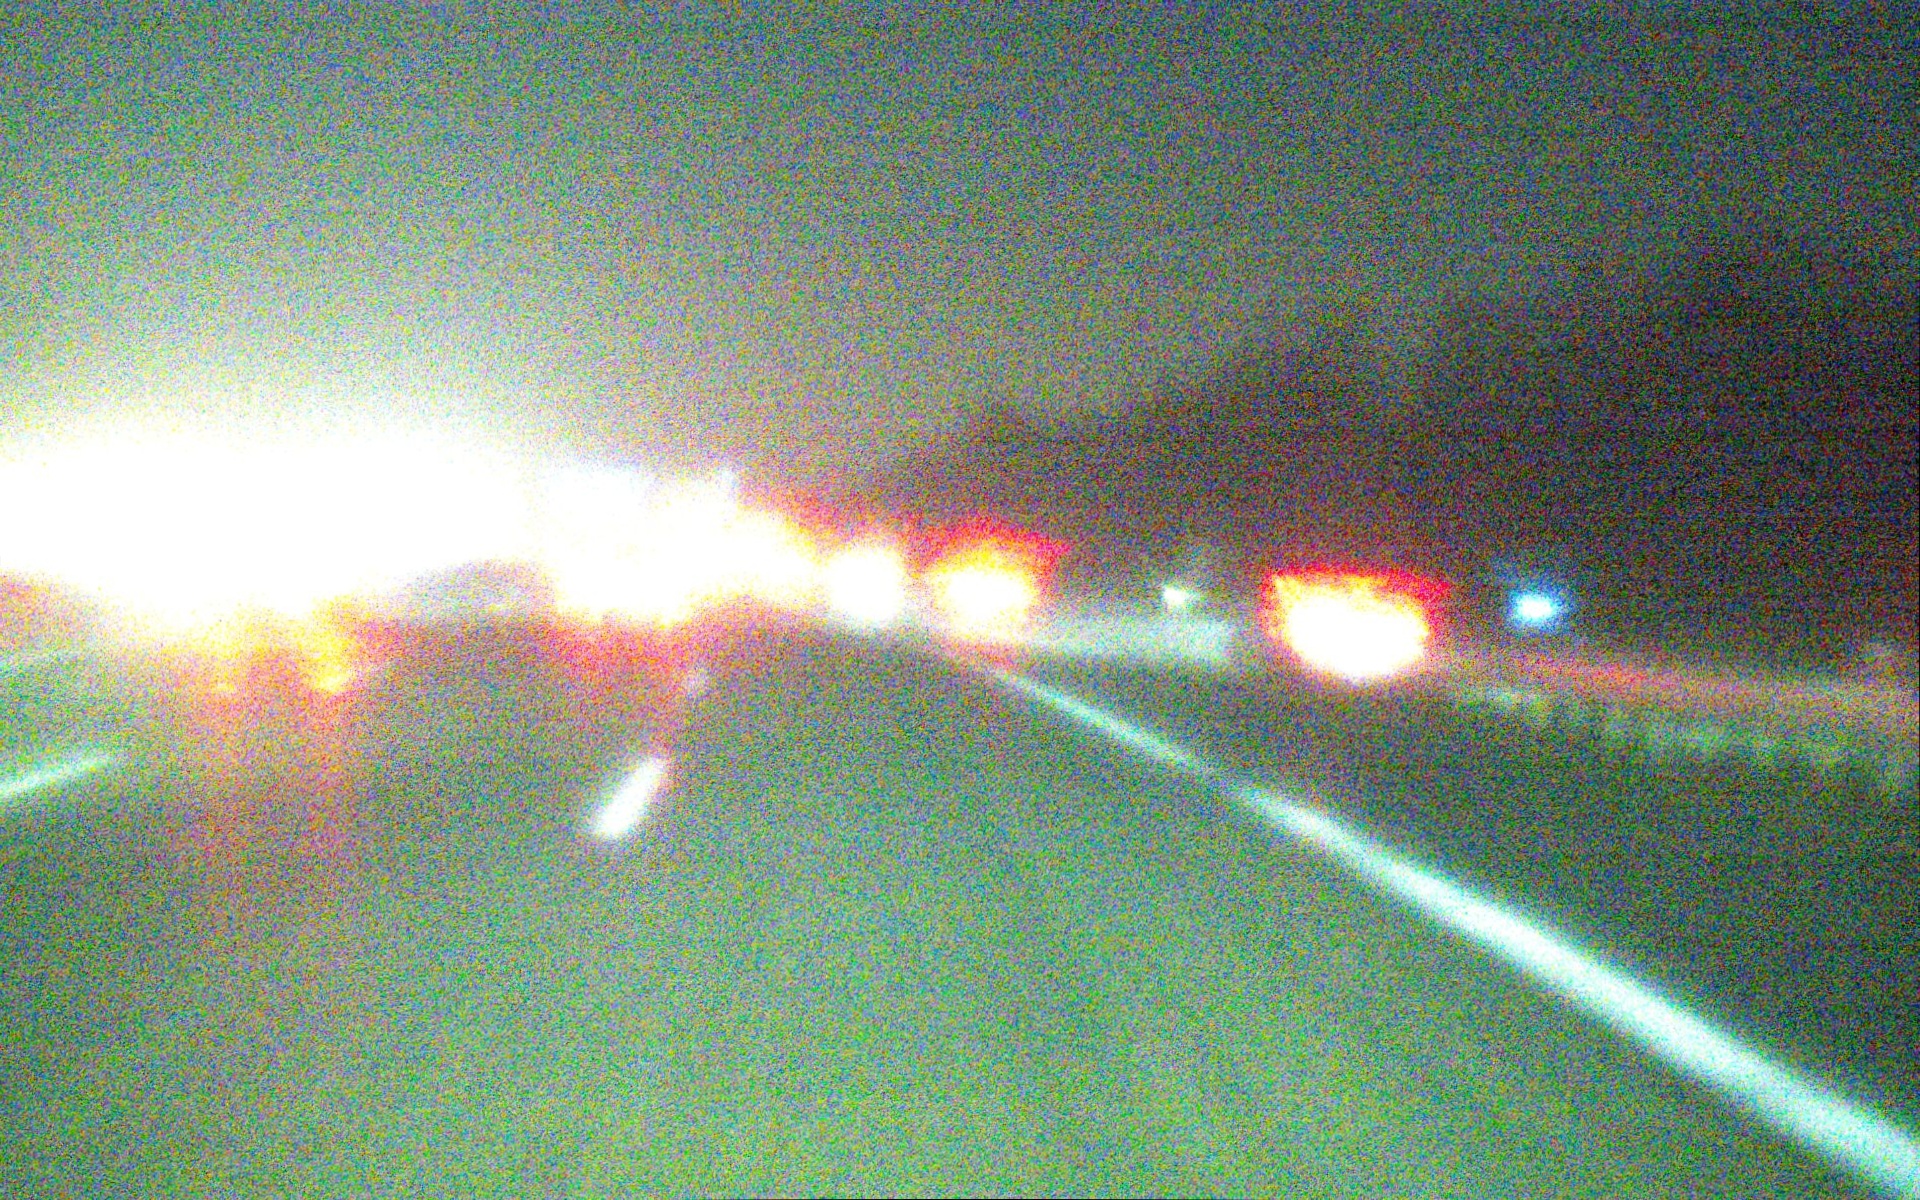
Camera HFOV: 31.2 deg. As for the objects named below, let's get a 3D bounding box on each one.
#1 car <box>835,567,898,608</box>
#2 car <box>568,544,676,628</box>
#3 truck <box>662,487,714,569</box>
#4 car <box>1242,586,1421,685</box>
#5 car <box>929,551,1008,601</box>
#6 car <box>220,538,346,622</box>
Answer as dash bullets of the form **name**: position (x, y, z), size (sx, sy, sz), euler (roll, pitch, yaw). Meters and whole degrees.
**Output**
- **car**: position (-3.098, -0.405, 113.526), size (1.580, 1.242, 3.069), euler (3, 0, -10)
- **car**: position (-6.179, -0.288, 63.205), size (1.801, 1.482, 4.001), euler (-1, 1, -3)
- **truck**: position (-10.704, -2.776, 135.169), size (1.993, 3.032, 6.466), euler (0, -1, -5)
- **car**: position (6.229, 0.560, 58.200), size (2.057, 1.514, 5.016), euler (-1, 1, -5)
- **car**: position (0.211, -0.648, 92.409), size (1.580, 1.242, 3.070), euler (2, 1, -10)
- **car**: position (-10.386, -0.290, 52.921), size (1.662, 1.232, 3.762), euler (0, -1, -8)
